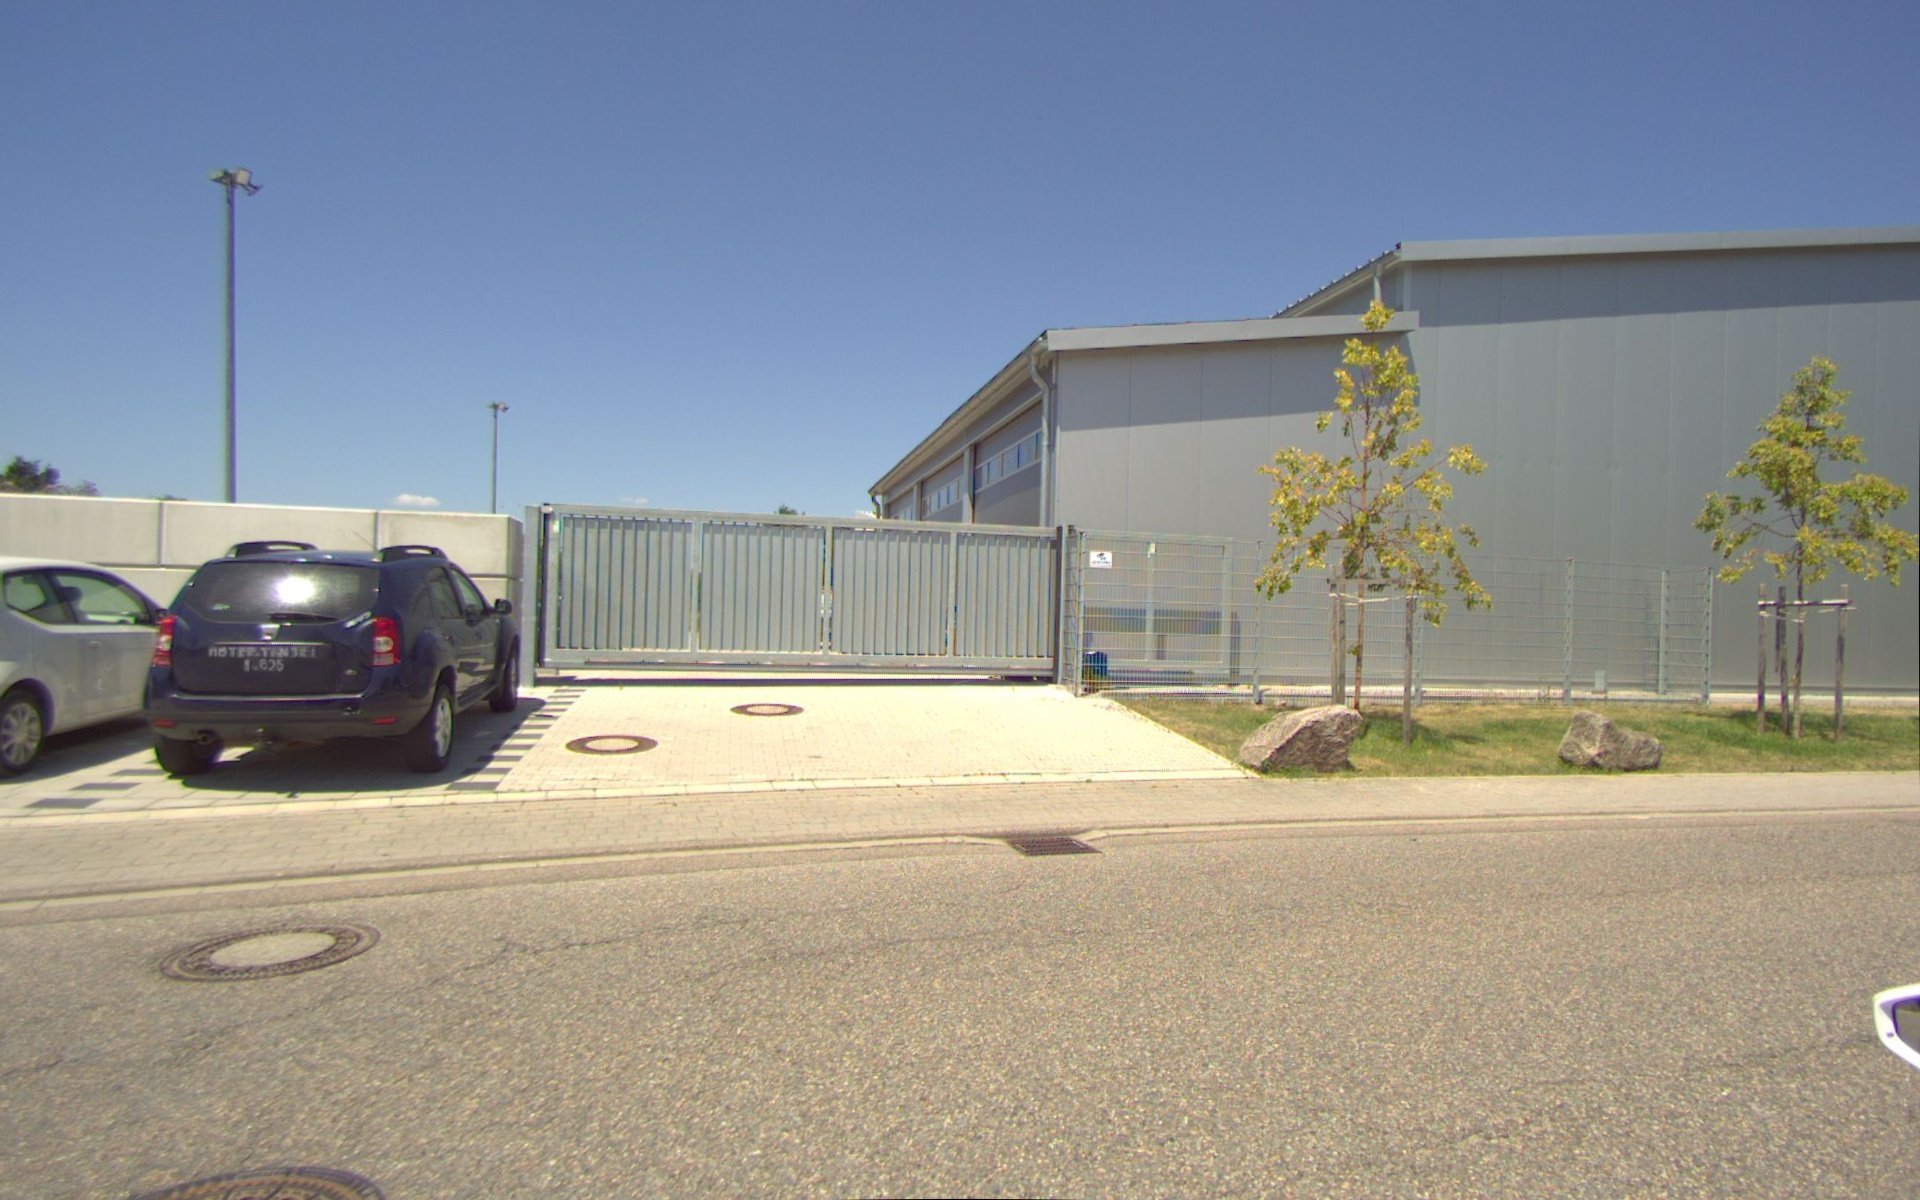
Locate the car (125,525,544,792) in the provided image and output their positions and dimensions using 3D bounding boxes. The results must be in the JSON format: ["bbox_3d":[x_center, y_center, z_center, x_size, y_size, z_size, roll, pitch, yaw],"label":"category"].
[{"bbox_3d":[-4.913,0.267,8.620,1.751,1.681,4.164,2,4,-13],"label":"car"}]

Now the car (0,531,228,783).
[{"bbox_3d":[-7.419,0.283,7.744,1.752,1.481,3.360,2,4,-15],"label":"car"}]
